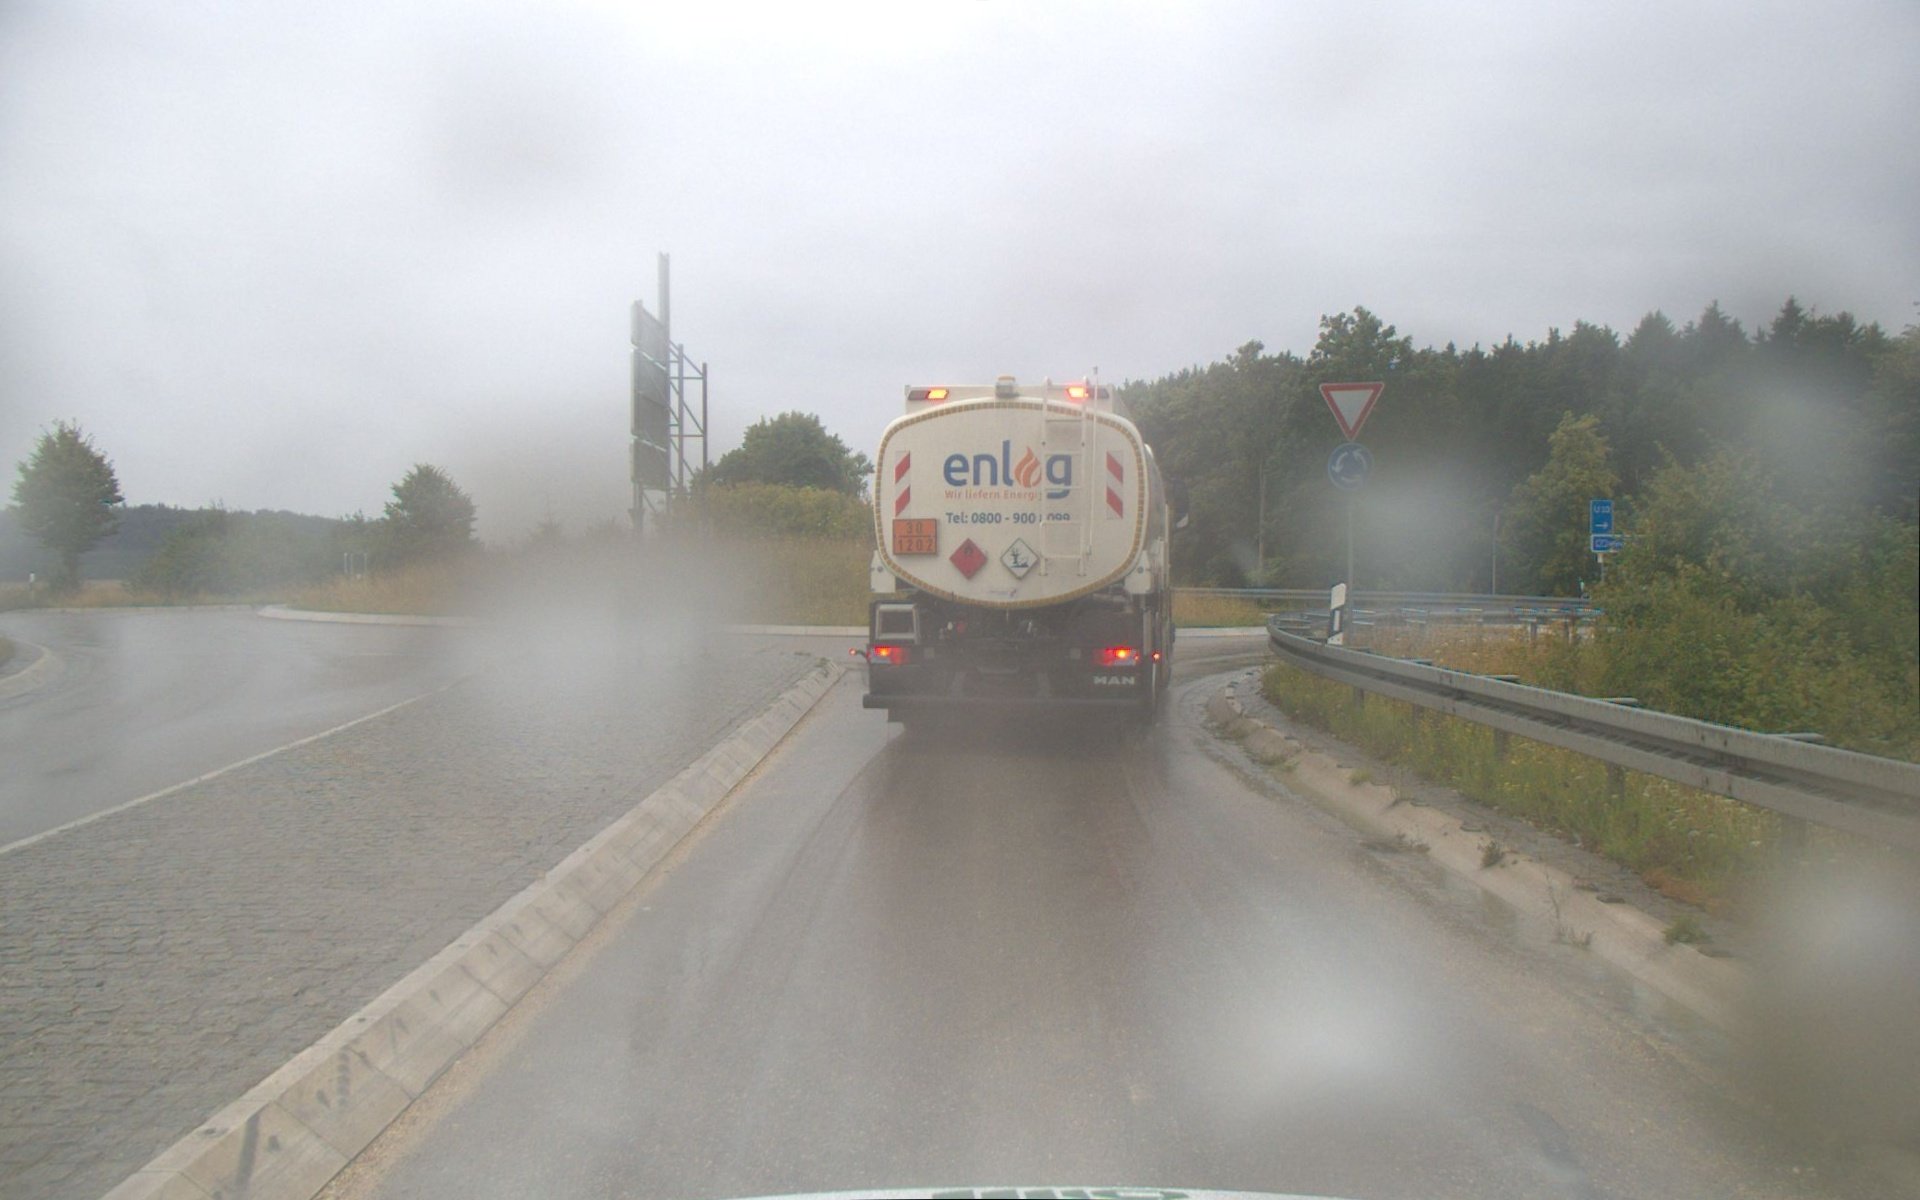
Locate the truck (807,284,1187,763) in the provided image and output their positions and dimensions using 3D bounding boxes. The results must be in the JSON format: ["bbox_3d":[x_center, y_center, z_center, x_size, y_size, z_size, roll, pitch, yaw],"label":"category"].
[{"bbox_3d":[0.878,-0.705,18.126,2.974,3.919,8.830,1,1,9],"label":"truck"}]
